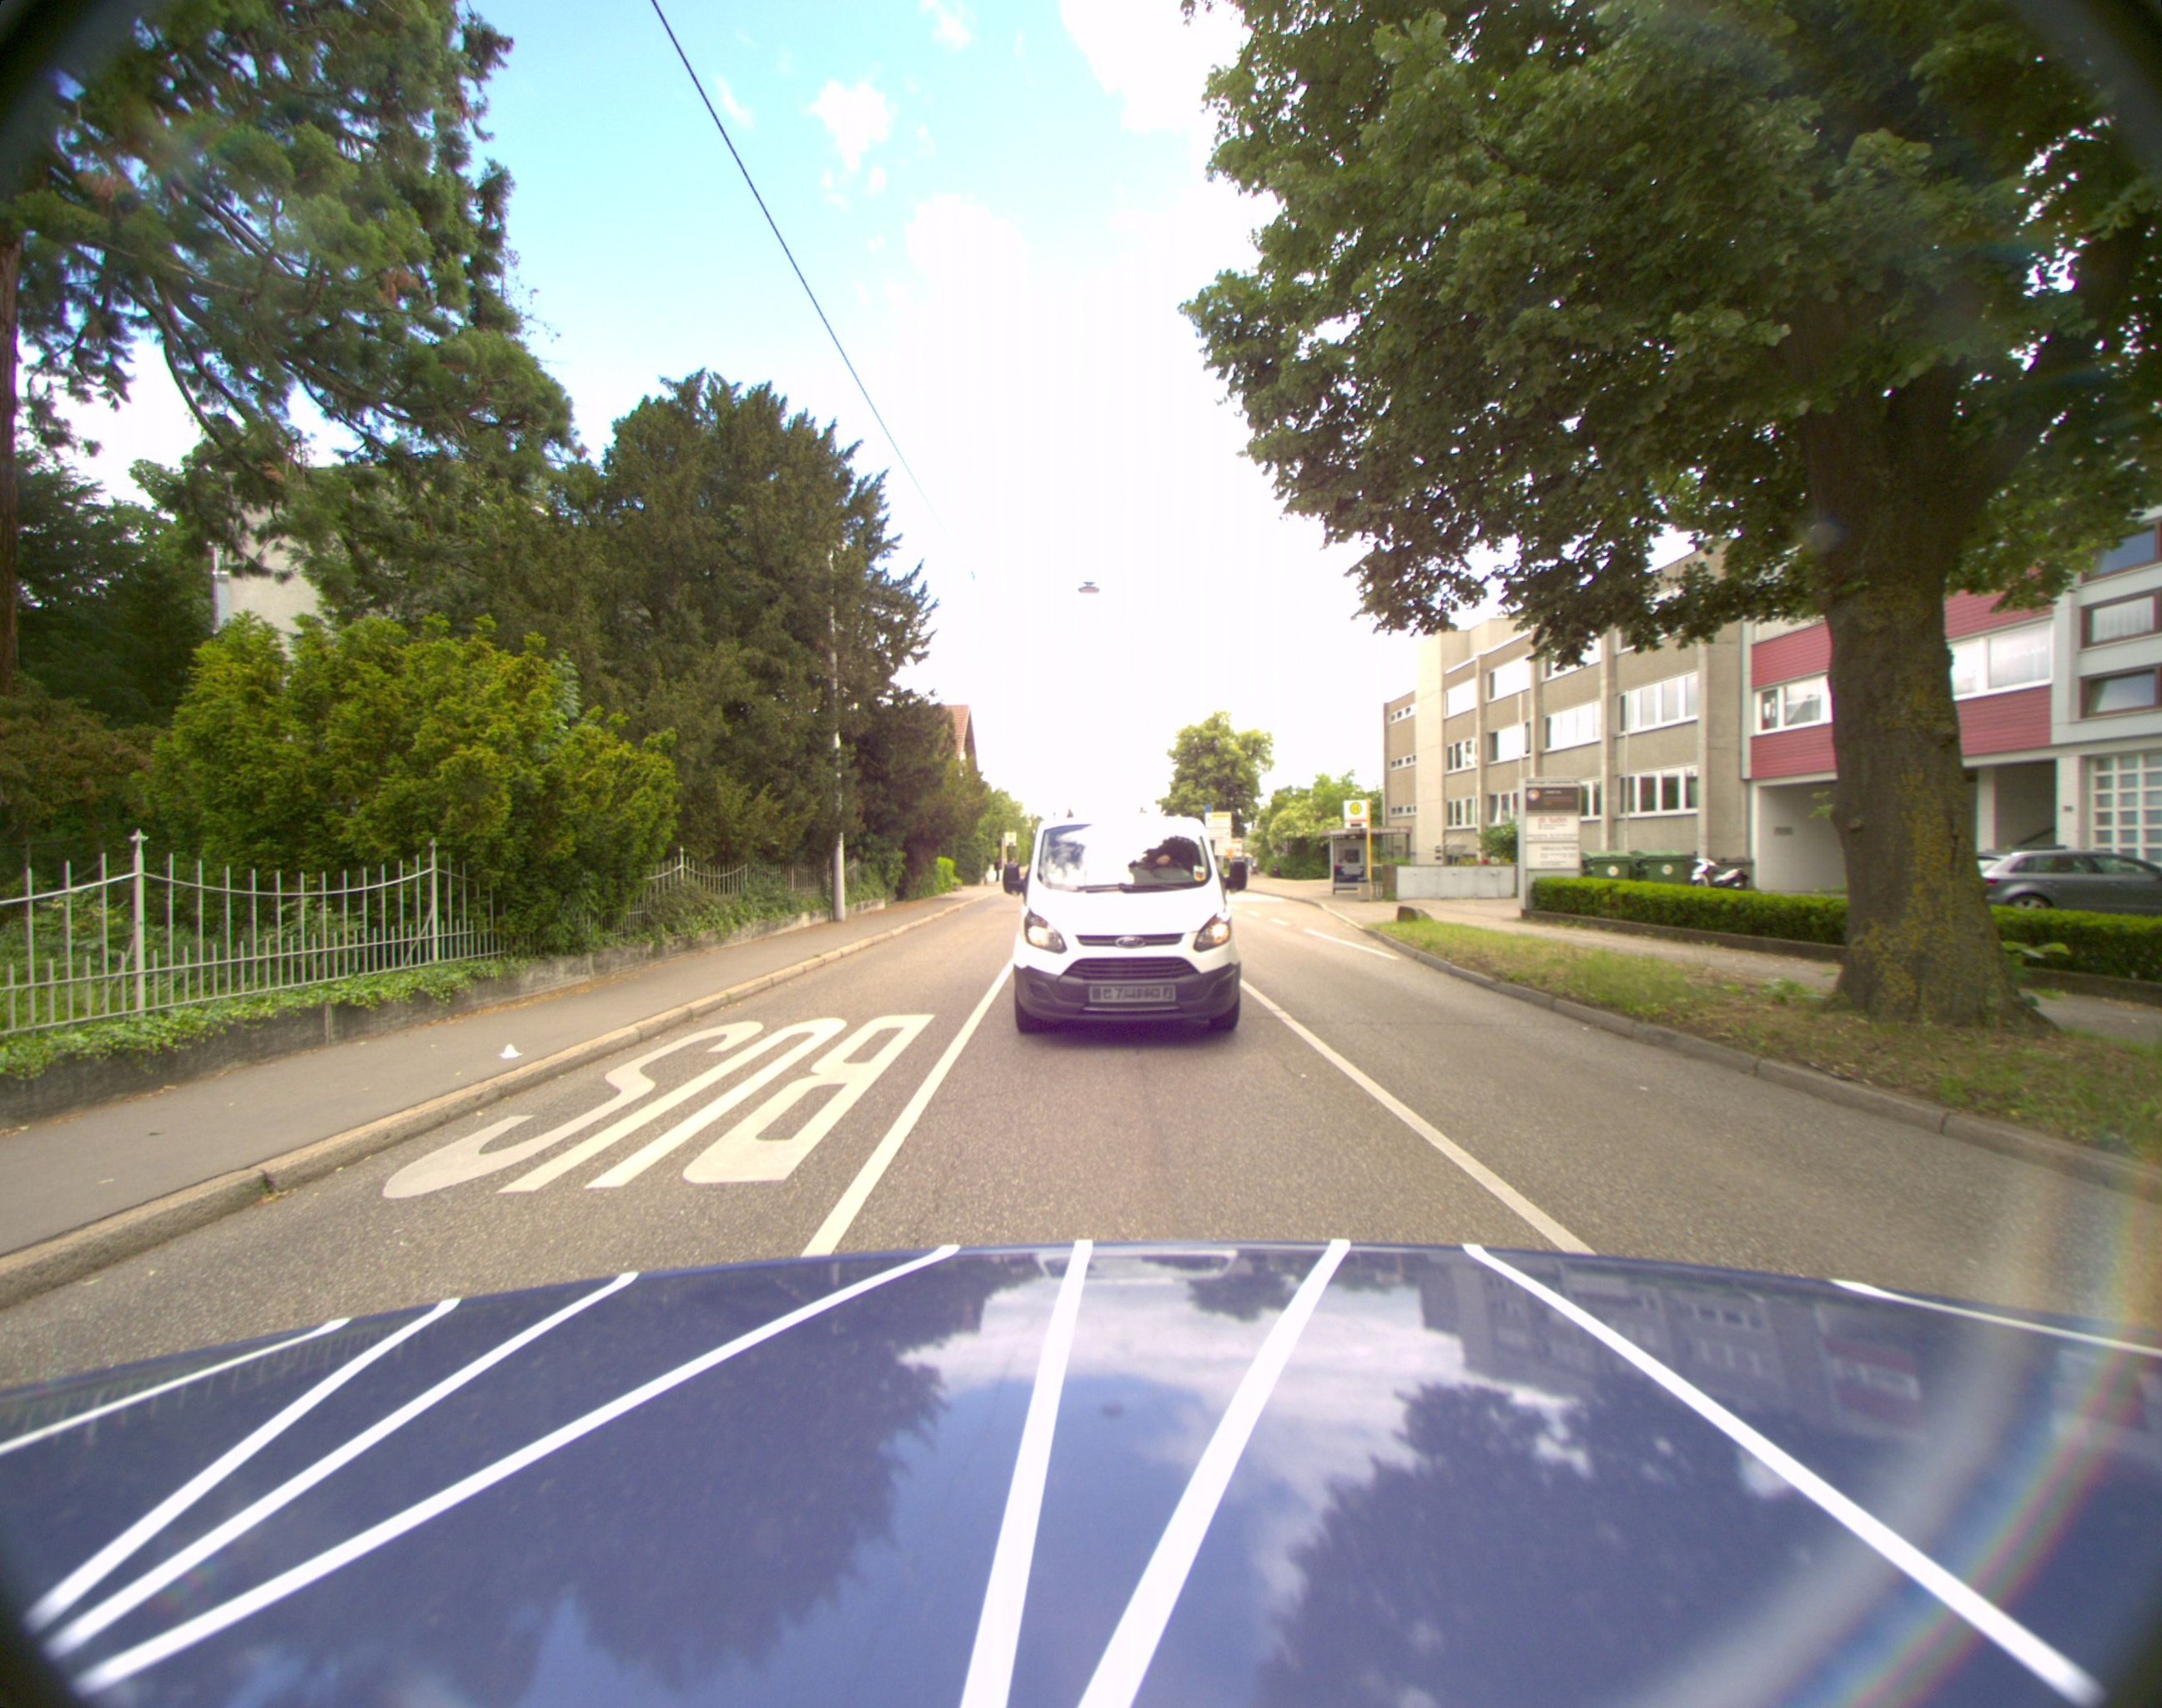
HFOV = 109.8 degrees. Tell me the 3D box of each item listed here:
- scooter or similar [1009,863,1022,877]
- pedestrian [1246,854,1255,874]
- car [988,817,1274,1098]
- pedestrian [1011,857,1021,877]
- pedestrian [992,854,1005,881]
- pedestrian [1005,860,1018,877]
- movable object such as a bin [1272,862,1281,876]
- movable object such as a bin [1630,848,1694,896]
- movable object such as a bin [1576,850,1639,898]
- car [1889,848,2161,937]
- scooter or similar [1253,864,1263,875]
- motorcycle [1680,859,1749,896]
[{"bbox_3d":[-5.081,1.233,58.577,0.478,1.091,0.860,3,1,43],"label":"scooter or similar"},{"bbox_3d":[13.452,0.776,60.270,0.672,1.549,0.520,-2,1,18],"label":"pedestrian"},{"bbox_3d":[0.331,0.723,8.327,1.999,1.961,5.714,-2,1,-1],"label":"car"},{"bbox_3d":[-5.117,1.041,59.426,0.661,1.526,0.748,2,1,-1],"label":"pedestrian"},{"bbox_3d":[-5.540,0.923,50.815,0.488,1.757,0.672,-1,1,32],"label":"pedestrian"},{"bbox_3d":[-5.258,1.083,57.571,0.916,1.244,0.789,2,1,-5],"label":"pedestrian"},{"bbox_3d":[13.539,1.059,52.728,0.566,0.922,0.608,-1,1,16],"label":"movable object such as a bin"},{"bbox_3d":[18.632,0.558,24.379,1.365,1.457,0.885,-2,1,1],"label":"movable object such as a bin"},{"bbox_3d":[16.930,0.624,24.457,1.301,1.457,0.992,-2,1,1],"label":"movable object such as a bin"},{"bbox_3d":[18.324,0.705,14.162,4.143,1.470,1.814,-2,1,15],"label":"car"},{"bbox_3d":[13.745,1.178,58.971,0.607,0.782,0.860,-2,1,17],"label":"scooter or similar"},{"bbox_3d":[20.358,0.754,24.434,1.645,1.133,0.639,-2,1,1],"label":"motorcycle"}]
